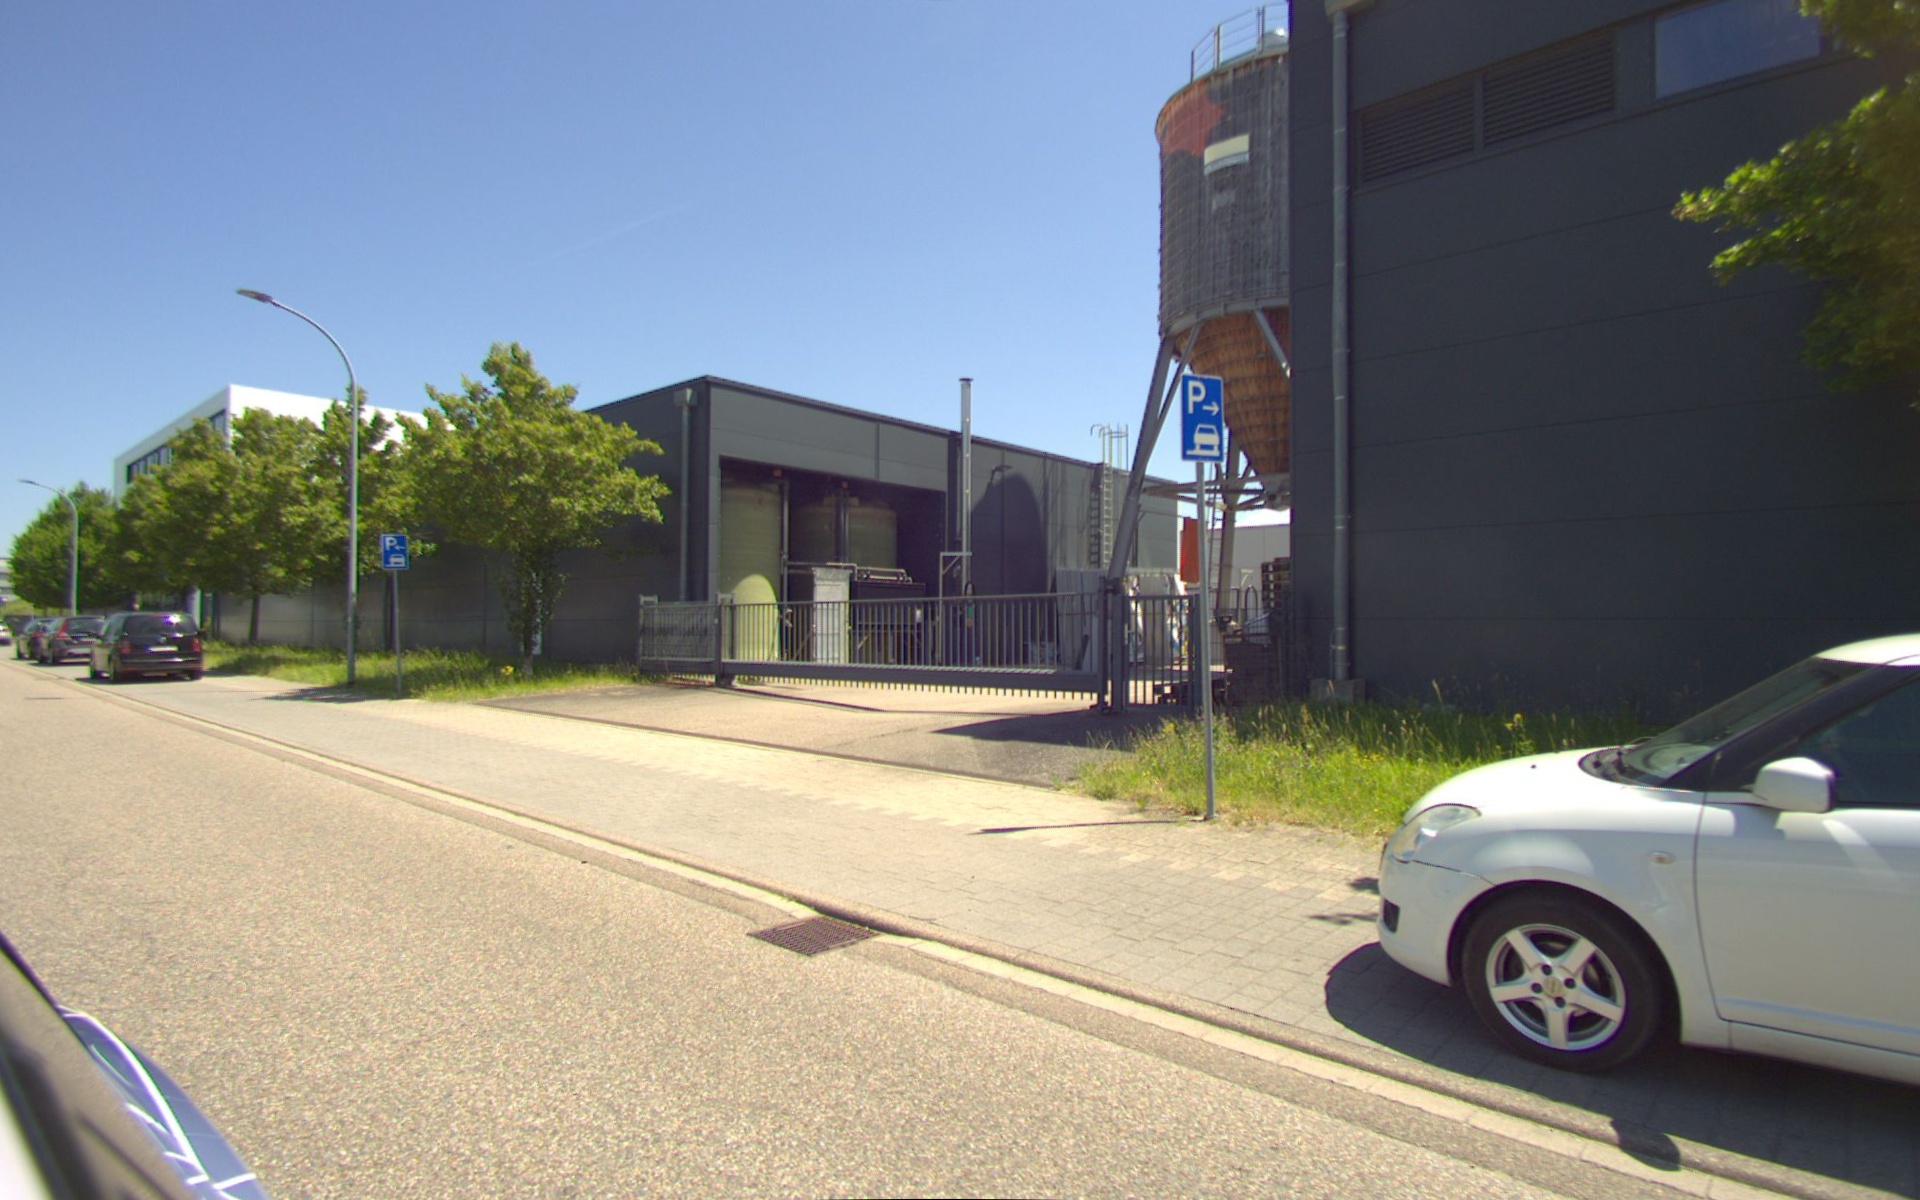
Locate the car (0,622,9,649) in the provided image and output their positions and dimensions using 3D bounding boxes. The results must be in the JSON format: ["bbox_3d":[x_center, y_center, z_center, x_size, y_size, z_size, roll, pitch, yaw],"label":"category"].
[{"bbox_3d":[-53.852,1.999,55.773,4.200,1.441,1.752,-1,2,42],"label":"car"}]

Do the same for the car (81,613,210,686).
[{"bbox_3d":[-19.872,1.139,24.633,4.245,1.624,1.752,-1,-1,41],"label":"car"}]

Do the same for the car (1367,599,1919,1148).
[{"bbox_3d":[3.506,0.743,3.106,3.854,1.487,1.703,-1,-1,40],"label":"car"}]

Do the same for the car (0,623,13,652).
[{"bbox_3d":[-50.226,1.932,52.148,3.939,1.442,1.752,-1,-1,42],"label":"car"}]

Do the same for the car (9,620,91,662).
[{"bbox_3d":[-33.358,1.474,37.075,4.199,1.442,1.752,-1,-1,41],"label":"car"}]

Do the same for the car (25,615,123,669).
[{"bbox_3d":[-28.755,1.297,32.786,4.850,1.624,1.752,-1,-1,41],"label":"car"}]
